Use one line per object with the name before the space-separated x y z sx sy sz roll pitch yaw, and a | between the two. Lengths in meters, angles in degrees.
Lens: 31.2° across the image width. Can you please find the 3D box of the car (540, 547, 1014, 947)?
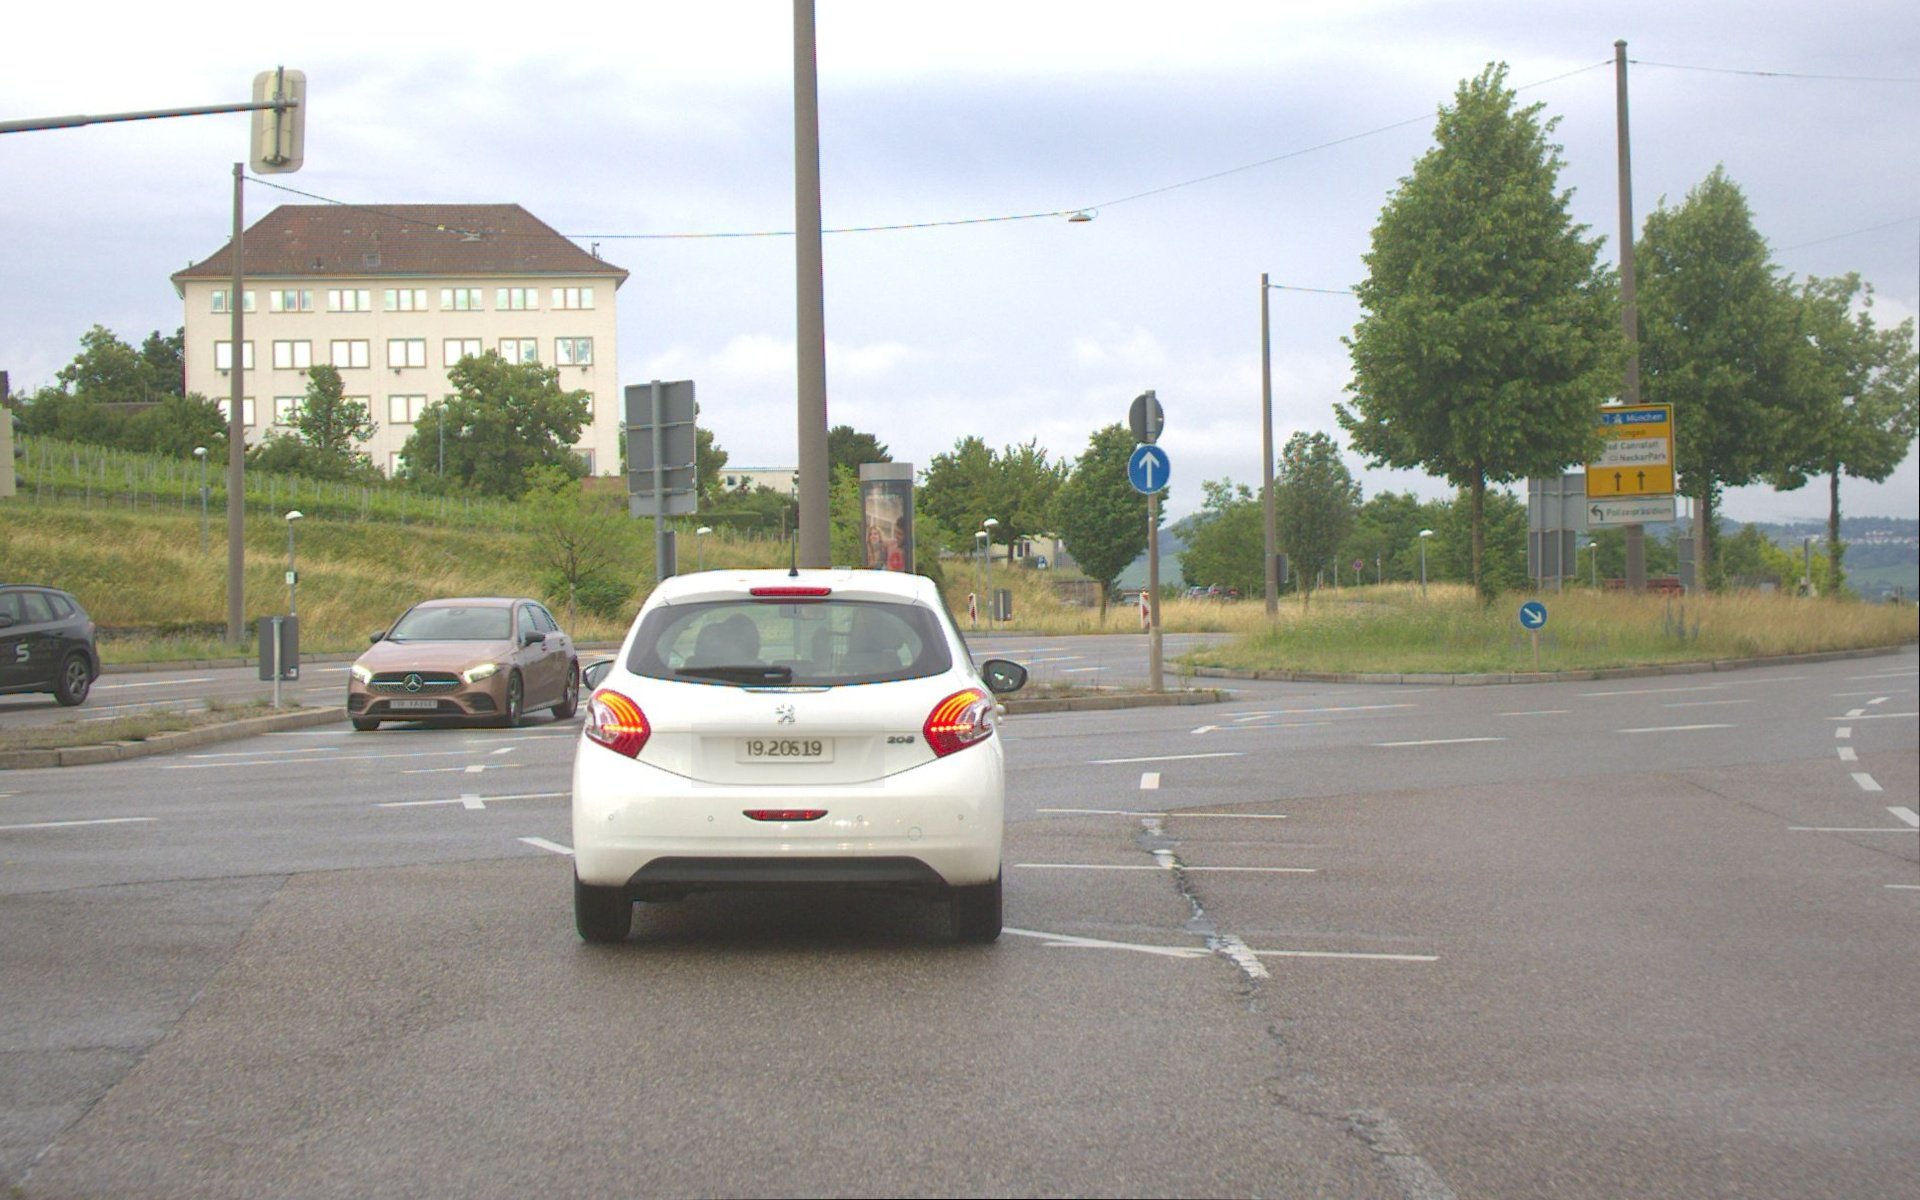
car | -0.651 0.528 14.777 1.718 1.484 4.000 0 1 1

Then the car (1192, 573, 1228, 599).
car | 15.437 -0.875 212.598 1.841 1.481 4.000 -1 1 -1

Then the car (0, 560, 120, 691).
car | -12.674 0.302 44.200 1.777 1.630 4.506 1 1 13

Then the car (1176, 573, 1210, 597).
car | 14.992 -0.962 220.998 1.841 1.481 4.000 -1 1 -1

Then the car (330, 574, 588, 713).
car | -5.503 0.441 38.297 1.776 1.420 4.373 -1 0 6
